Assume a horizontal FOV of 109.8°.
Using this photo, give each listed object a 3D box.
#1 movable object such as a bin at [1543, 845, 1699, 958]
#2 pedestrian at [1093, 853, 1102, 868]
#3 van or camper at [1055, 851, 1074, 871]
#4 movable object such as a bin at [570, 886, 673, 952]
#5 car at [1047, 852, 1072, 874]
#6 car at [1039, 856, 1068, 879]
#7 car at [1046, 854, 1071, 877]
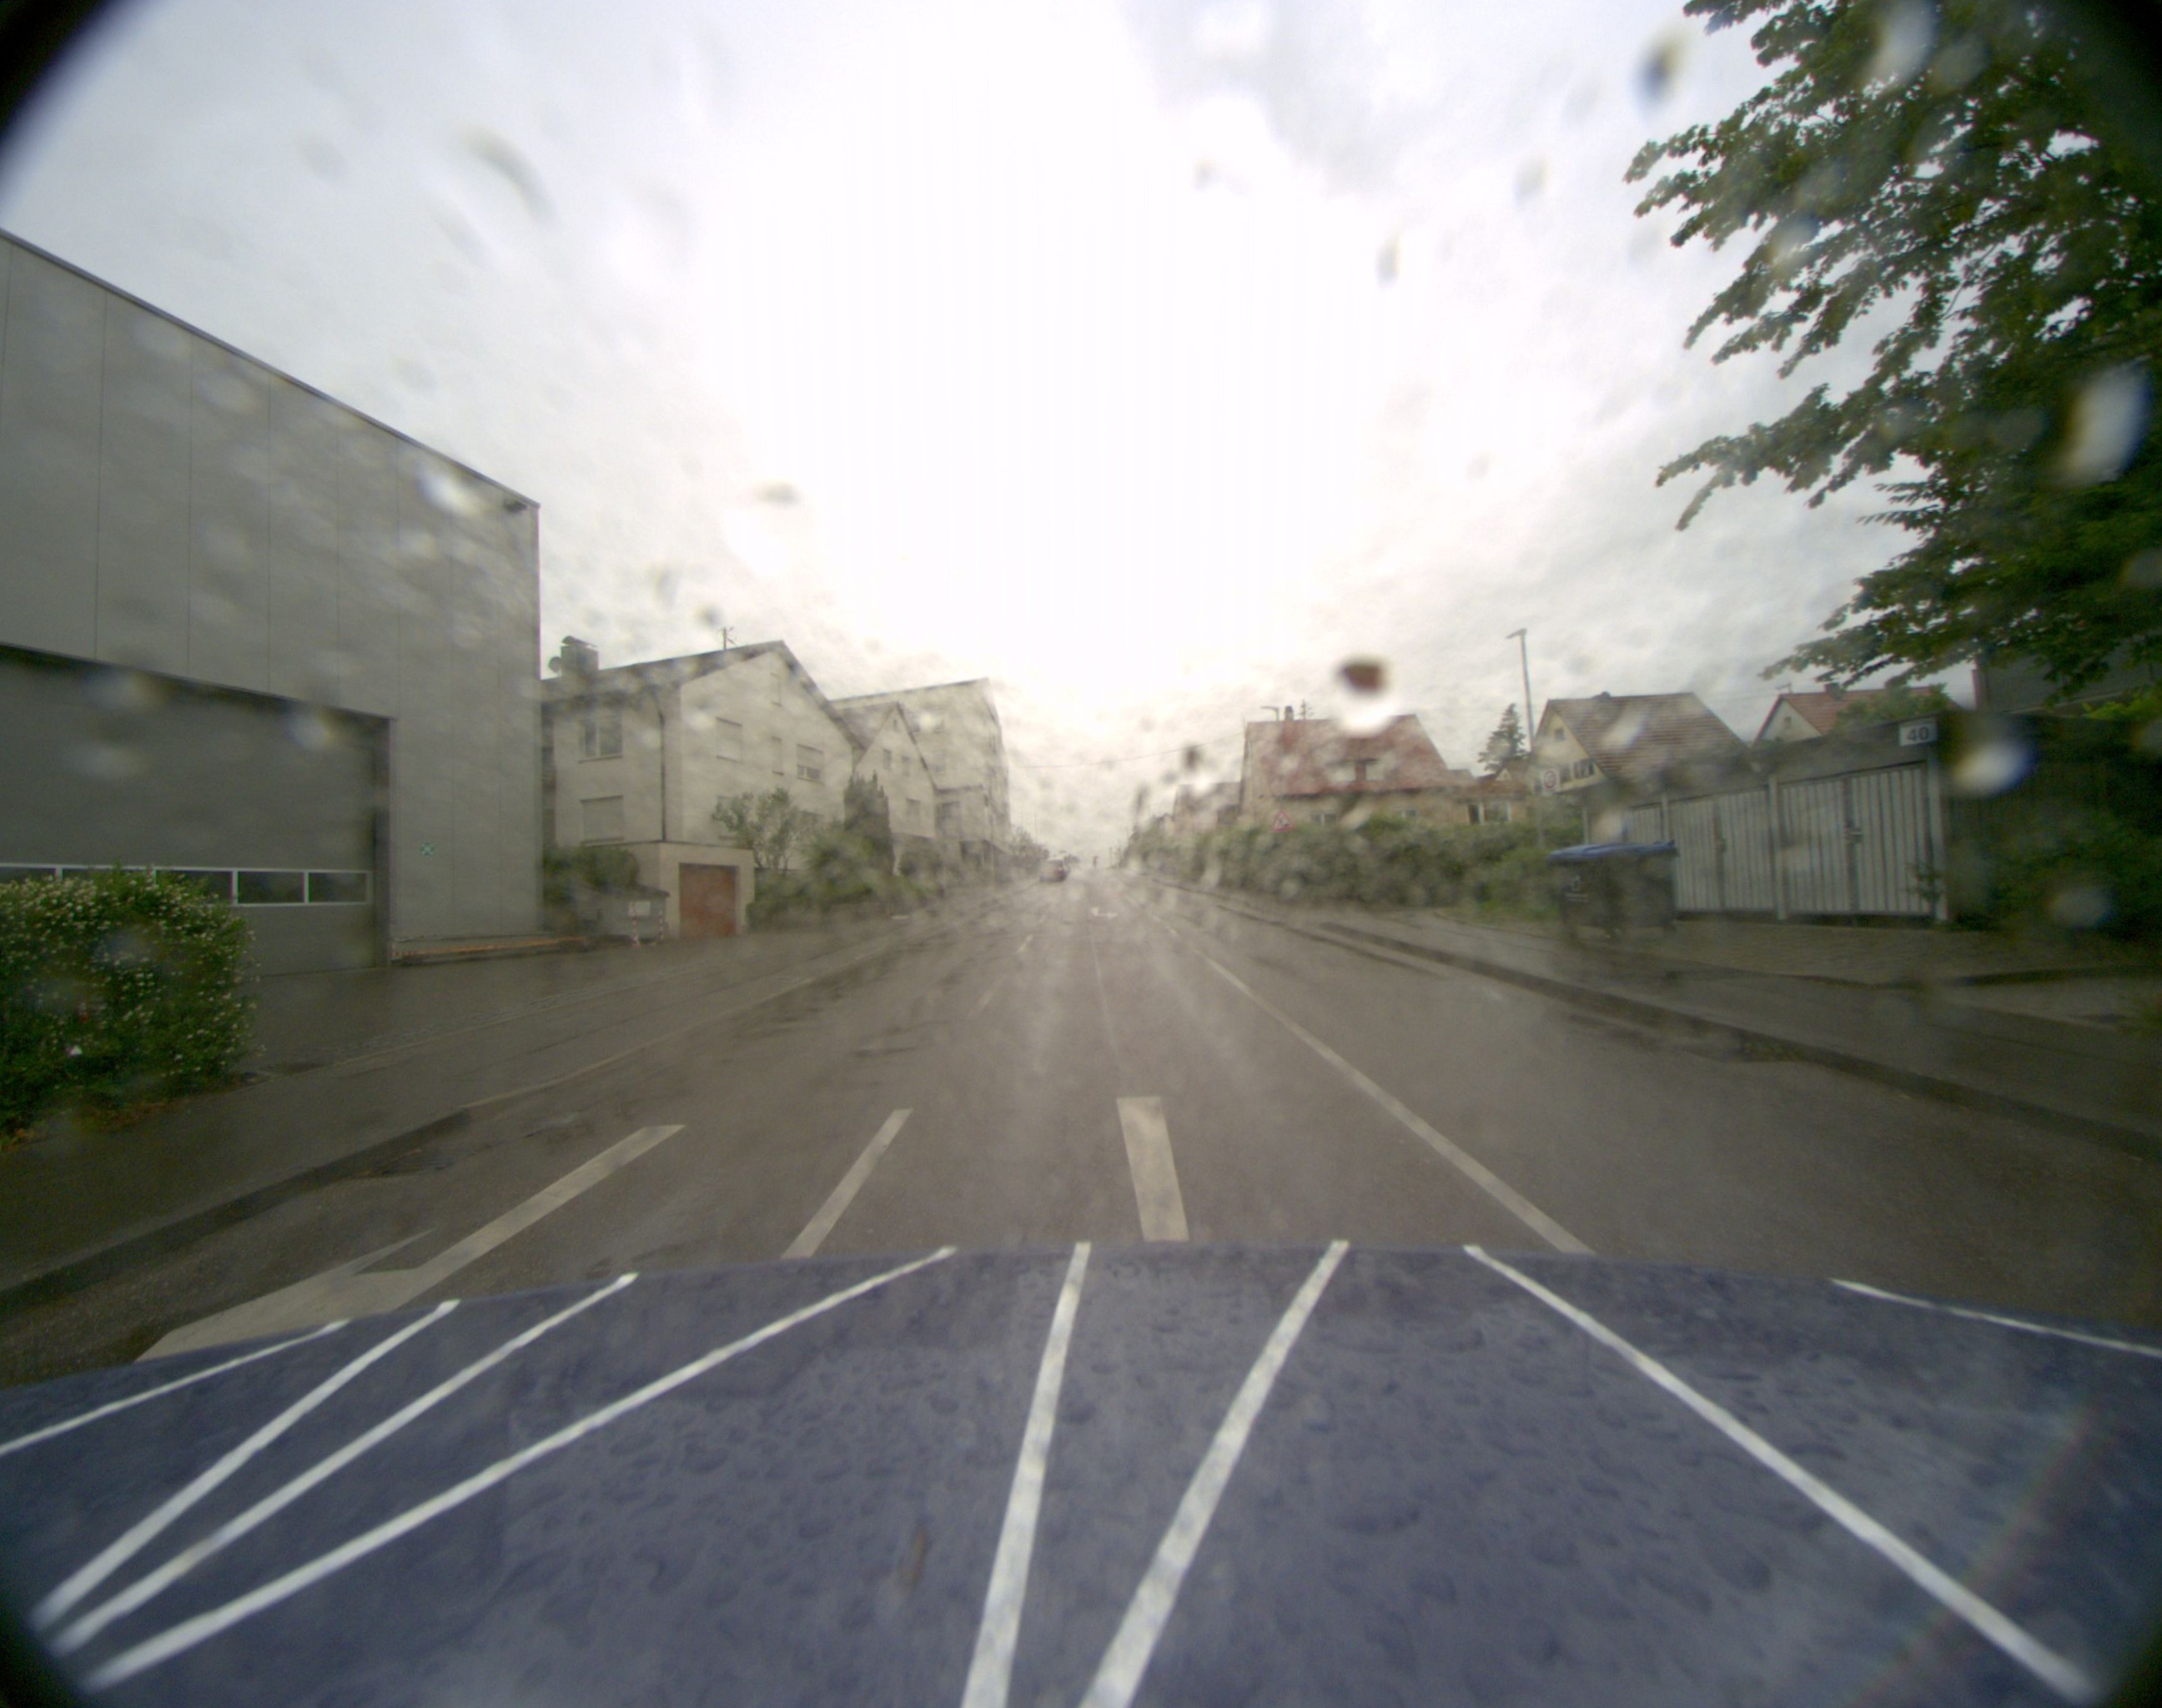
[{"bbox_3d":[7.205,0.602,10.230,1.074,1.339,1.319,-4,0,-1],"label":"movable object such as a bin"},{"bbox_3d":[2.281,0.885,104.479,1.063,1.924,1.091,-3,0,-2],"label":"pedestrian"},{"bbox_3d":[-1.823,0.776,86.292,1.998,2.101,5.203,-2,0,0],"label":"van or camper"},{"bbox_3d":[-11.486,1.600,19.077,1.263,1.509,1.781,-2,0,16],"label":"movable object such as a bin"},{"bbox_3d":[-1.991,0.851,72.492,1.998,1.923,4.976,-3,0,1],"label":"car"},{"bbox_3d":[-2.157,1.047,61.488,1.998,1.635,4.958,-3,0,1],"label":"car"},{"bbox_3d":[-1.938,0.956,66.714,1.883,1.823,4.489,-3,0,1],"label":"car"}]
